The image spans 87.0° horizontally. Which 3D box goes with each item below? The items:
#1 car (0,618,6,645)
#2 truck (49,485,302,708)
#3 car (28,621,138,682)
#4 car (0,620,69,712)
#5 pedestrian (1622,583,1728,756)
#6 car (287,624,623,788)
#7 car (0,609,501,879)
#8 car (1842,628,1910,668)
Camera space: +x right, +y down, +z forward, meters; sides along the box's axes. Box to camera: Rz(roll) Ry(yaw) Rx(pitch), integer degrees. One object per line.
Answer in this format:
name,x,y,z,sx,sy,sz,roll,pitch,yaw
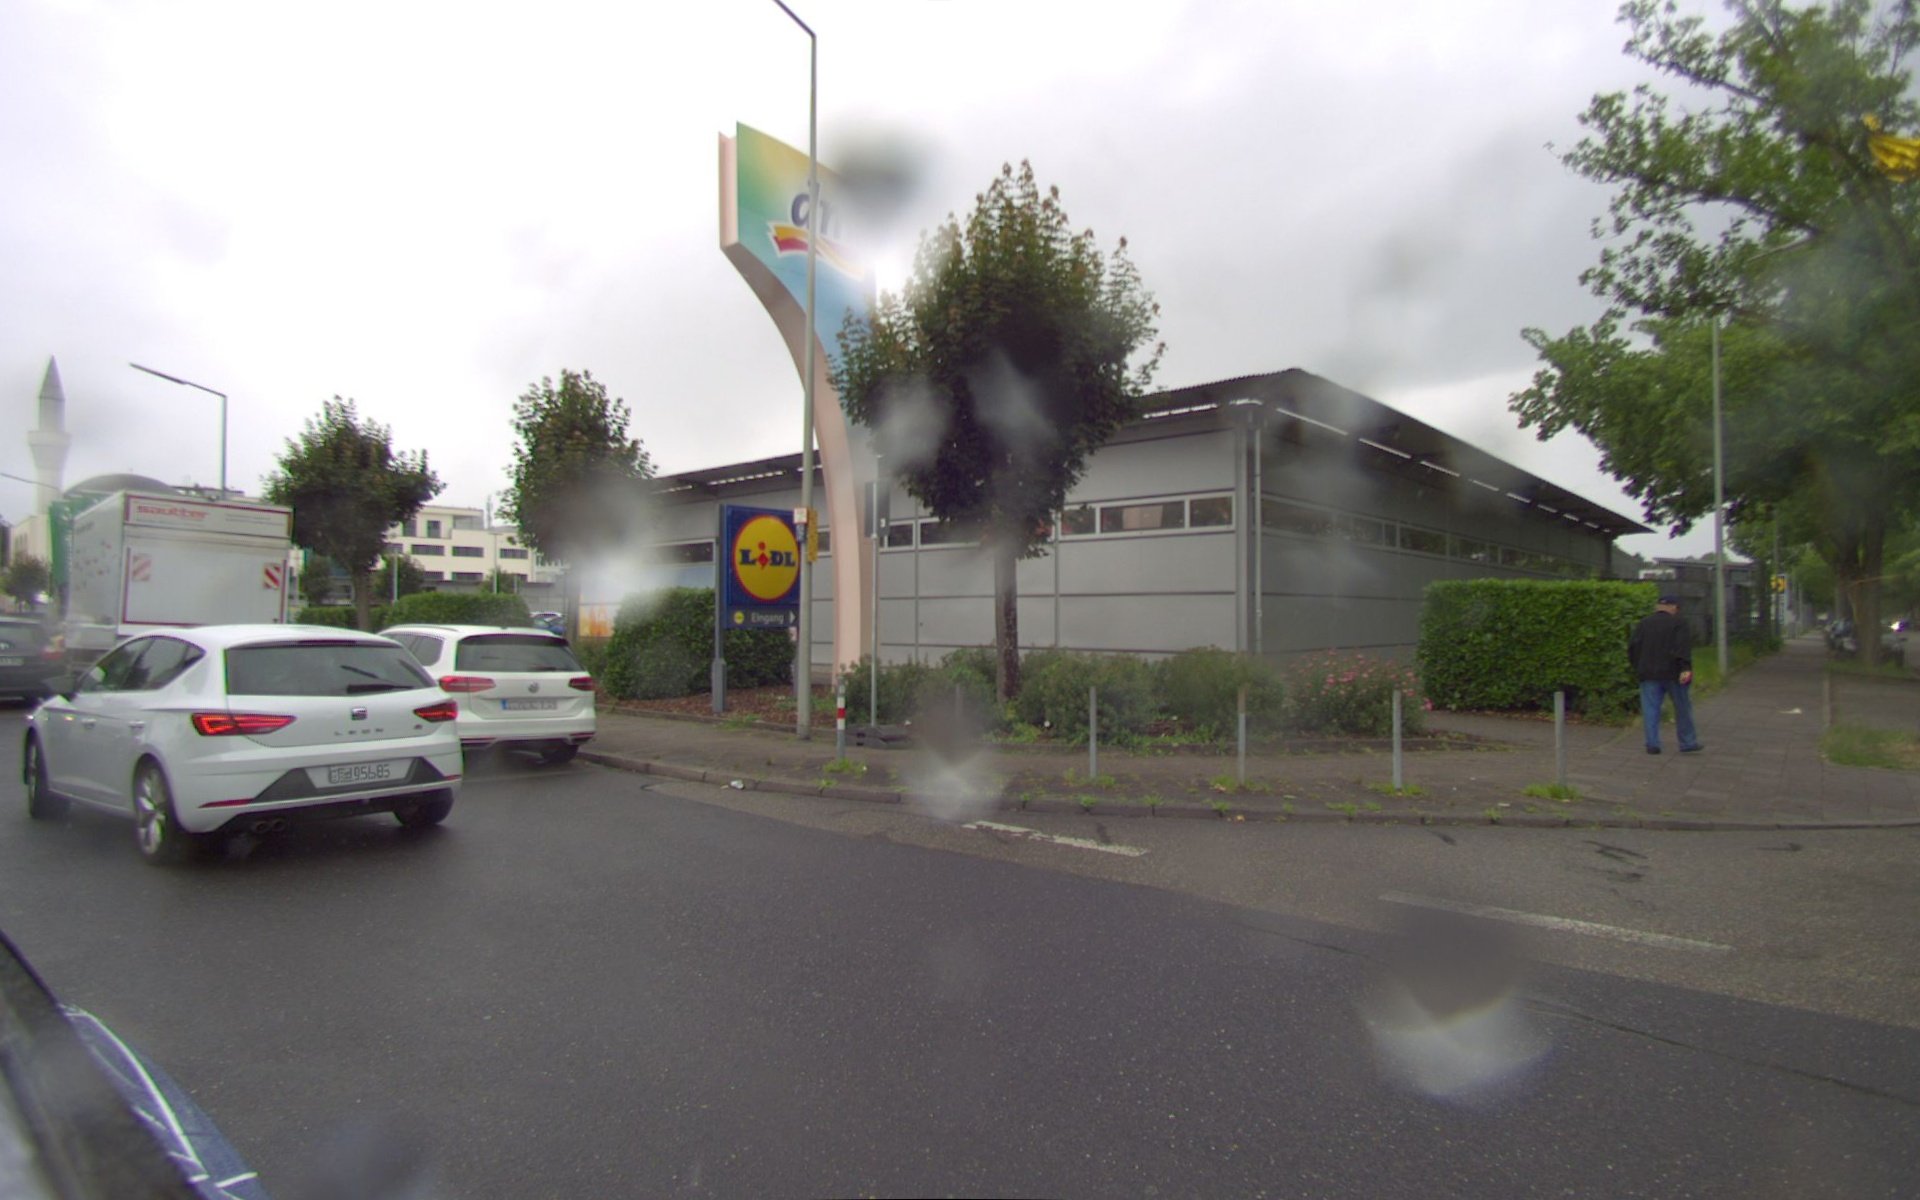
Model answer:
car,-50.720,1.630,52.381,3.608,1.351,1.559,-1,-2,41
truck,-16.367,0.014,20.860,7.867,3.775,2.850,-1,-2,43
car,-23.025,1.295,26.549,3.511,1.477,1.670,-1,-2,41
car,-16.722,1.073,17.205,3.996,1.452,1.713,-2,-3,39
pedestrian,7.389,0.691,10.461,0.771,1.686,0.759,1,-2,-45
car,-5.724,1.011,11.196,4.491,1.445,1.816,-1,-3,42
car,-5.252,0.834,7.297,3.990,1.452,1.716,-1,-2,34
car,30.100,1.534,33.236,1.571,1.212,3.943,-1,-2,43
